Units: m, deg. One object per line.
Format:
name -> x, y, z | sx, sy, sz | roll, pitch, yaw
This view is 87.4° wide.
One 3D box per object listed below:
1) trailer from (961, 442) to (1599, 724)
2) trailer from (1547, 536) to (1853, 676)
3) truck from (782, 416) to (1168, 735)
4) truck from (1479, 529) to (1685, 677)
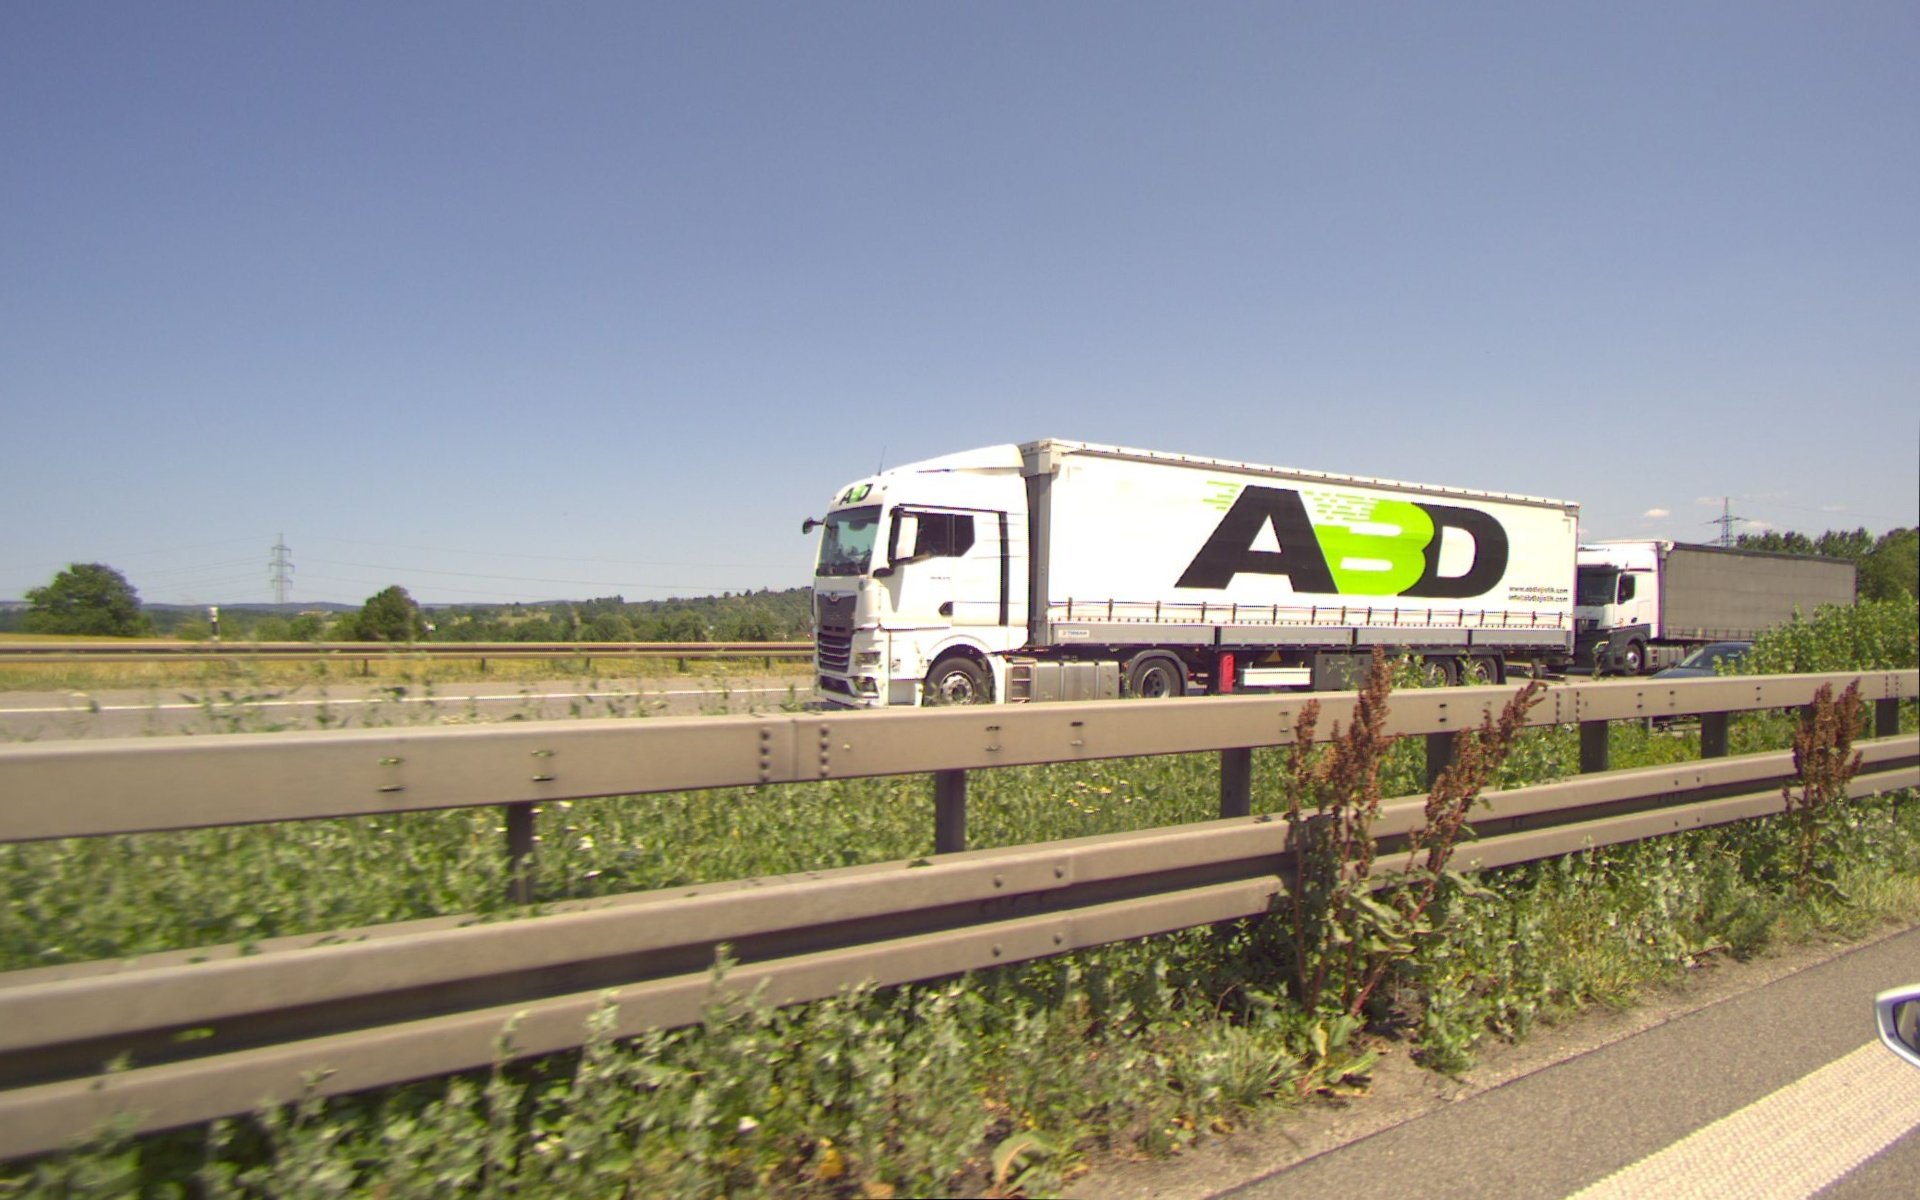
trailer -> 6.837, -0.190, 19.521 | 13.871, 4.131, 3.179 | 1, 1, -29
trailer -> 25.712, 0.245, 34.476 | 13.871, 4.131, 2.955 | 1, 1, -29
truck -> 0.203, -0.310, 15.777 | 5.162, 4.164, 3.162 | 1, 1, -29
truck -> 19.078, 0.095, 30.813 | 5.552, 4.164, 2.997 | 1, 1, -29
